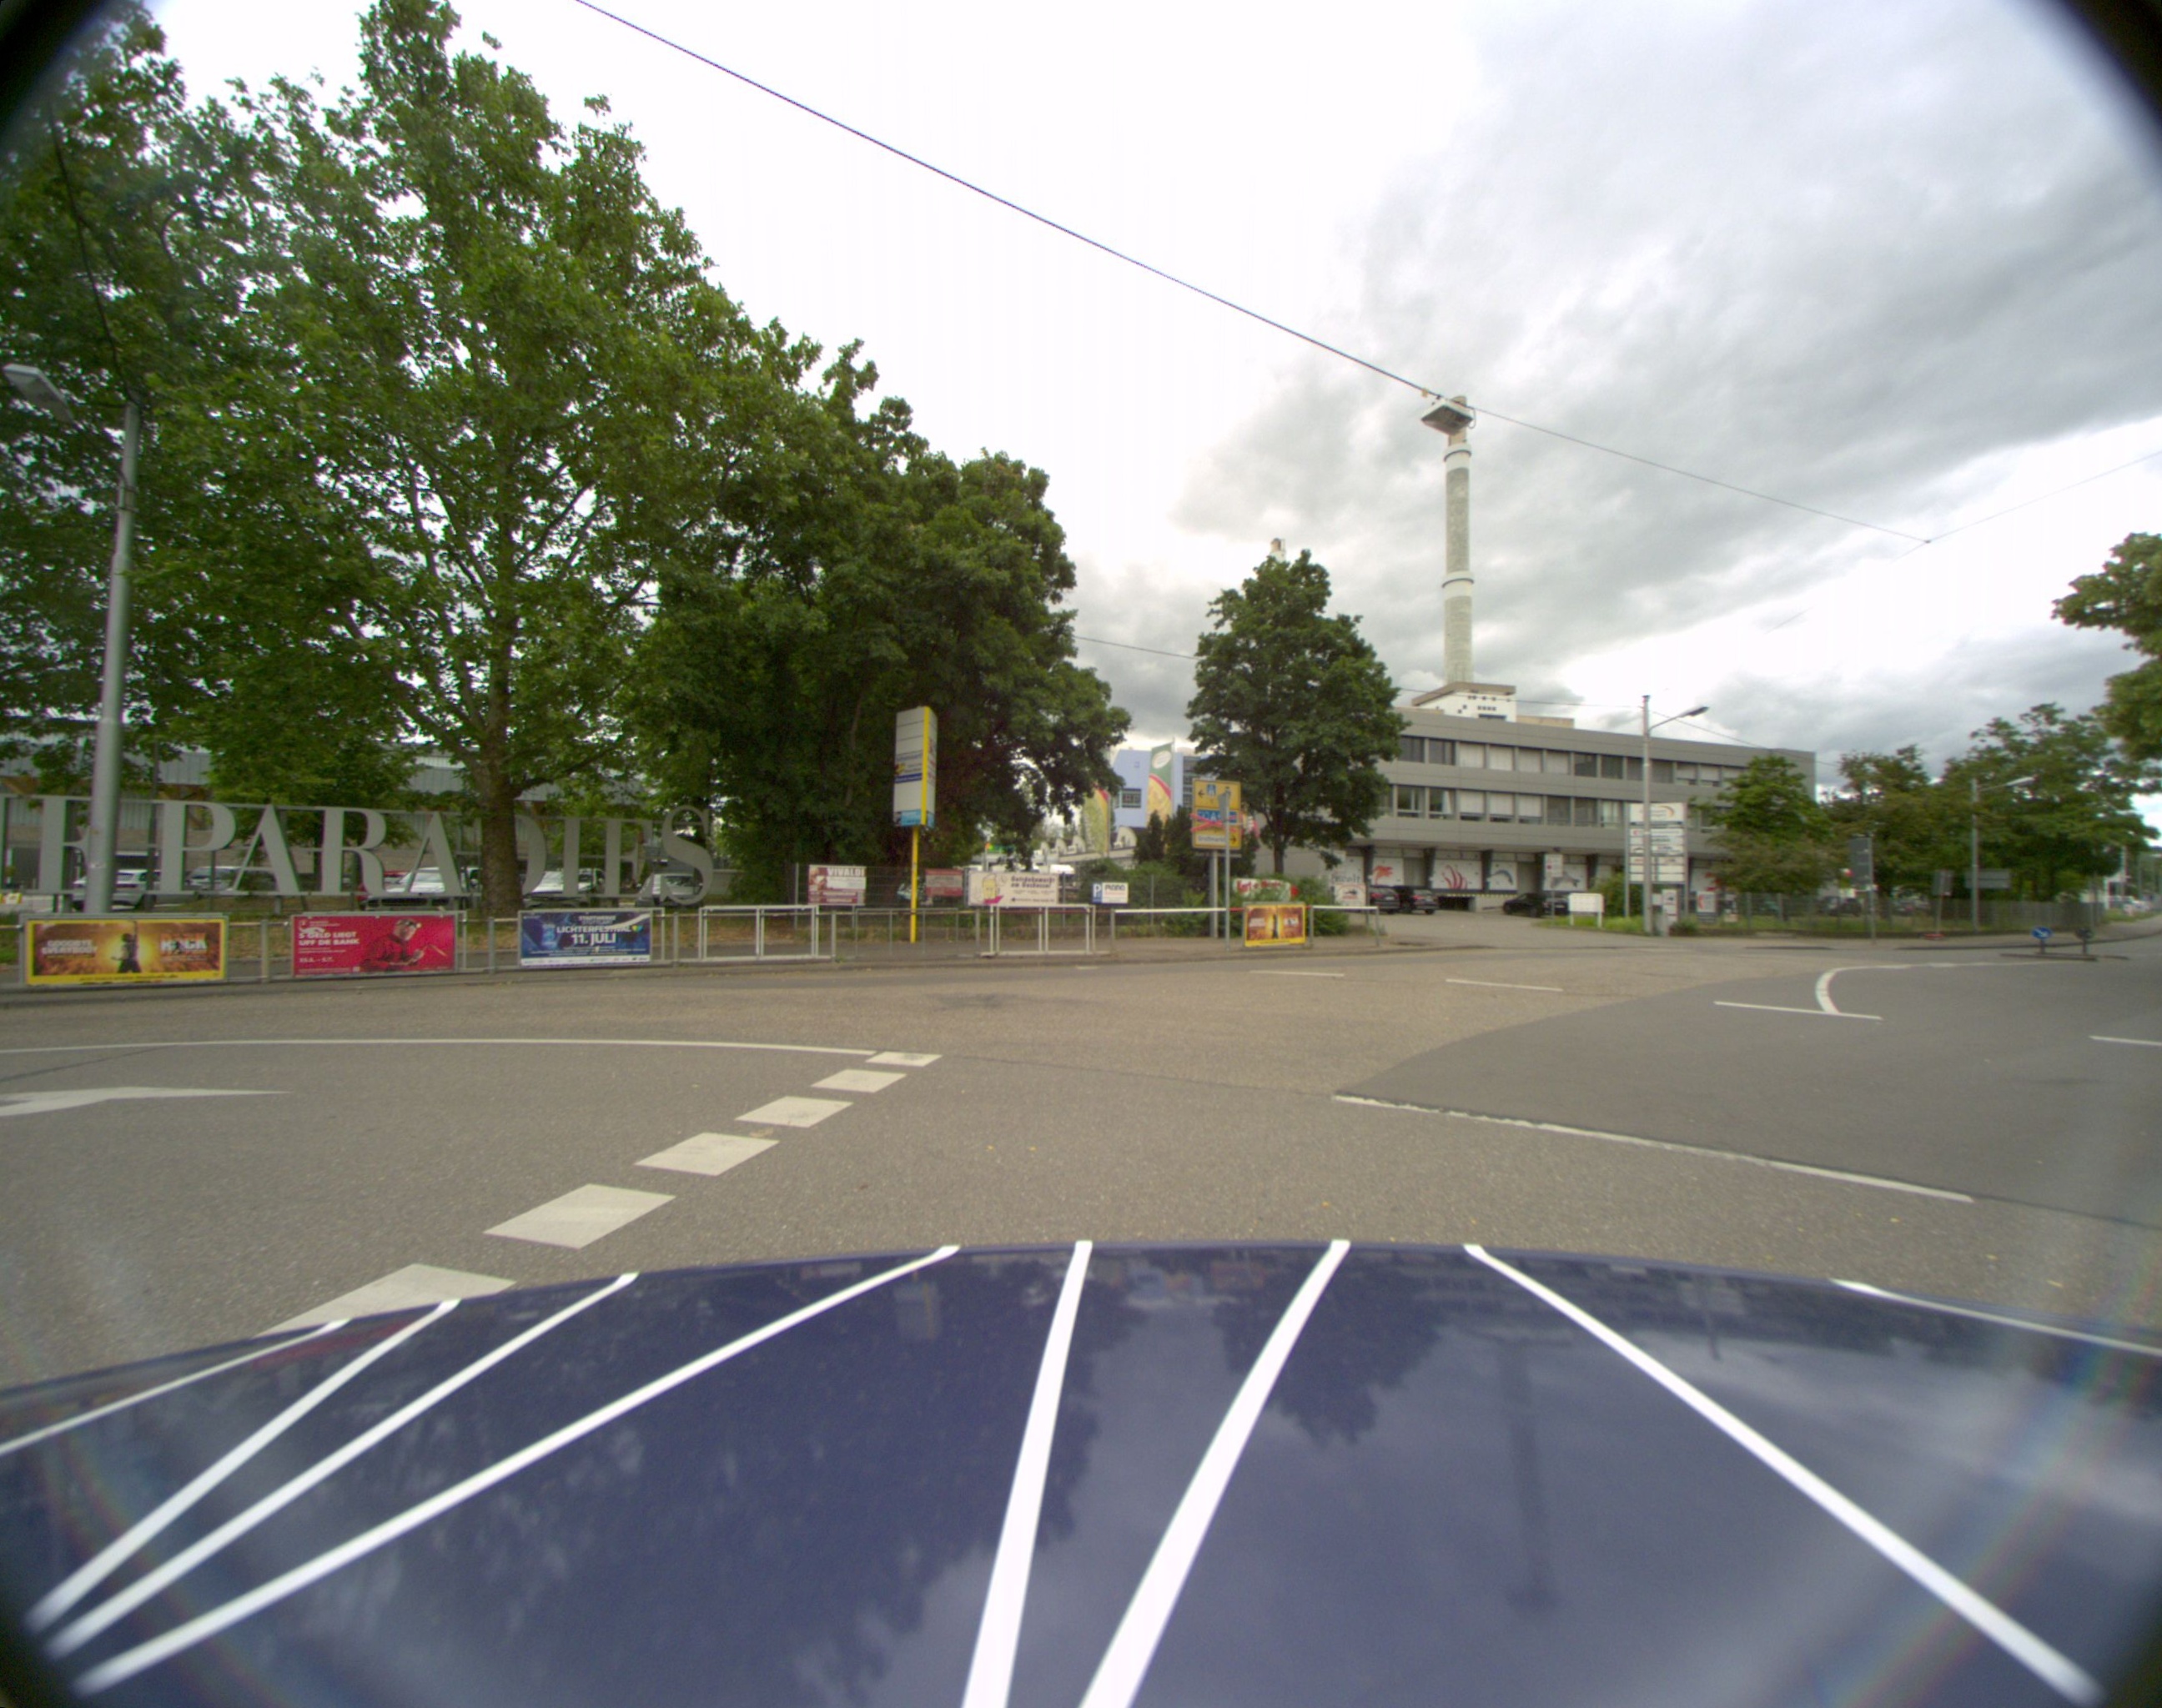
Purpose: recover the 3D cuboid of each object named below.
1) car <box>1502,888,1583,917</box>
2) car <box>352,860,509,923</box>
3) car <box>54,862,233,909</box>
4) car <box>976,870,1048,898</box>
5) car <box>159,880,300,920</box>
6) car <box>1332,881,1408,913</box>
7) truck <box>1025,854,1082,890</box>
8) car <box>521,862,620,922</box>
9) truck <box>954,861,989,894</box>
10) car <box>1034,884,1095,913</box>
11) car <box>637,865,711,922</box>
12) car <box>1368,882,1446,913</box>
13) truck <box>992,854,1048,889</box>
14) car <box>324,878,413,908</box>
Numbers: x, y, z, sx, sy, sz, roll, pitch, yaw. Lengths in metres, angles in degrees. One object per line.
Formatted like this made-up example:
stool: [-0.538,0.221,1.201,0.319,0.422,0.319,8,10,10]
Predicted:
car: [27.660,2.870,45.795,2.049,1.437,4.829,1,0,2]
car: [-18.387,1.082,21.774,1.886,1.602,4.520,1,-3,-20]
car: [-33.557,1.144,27.444,2.002,1.552,4.633,2,-2,-22]
car: [-7.249,3.174,80.013,7.160,2.715,2.241,2,-2,-17]
car: [-35.421,1.887,31.822,2.002,1.552,4.633,2,-2,-22]
car: [16.725,2.449,44.221,1.840,1.608,4.459,2,-1,-15]
truck: [-3.617,2.272,93.187,2.875,4.000,15.831,2,-2,-17]
car: [-15.110,1.124,22.709,1.594,1.602,4.311,1,-3,-22]
truck: [-14.432,3.060,99.283,3.002,4.140,9.177,2,-2,-17]
car: [-0.827,2.070,35.479,1.711,1.241,3.696,2,-2,-20]
car: [-12.599,1.233,23.729,1.594,1.602,3.994,1,-3,-22]
car: [19.358,2.537,45.325,1.840,1.608,4.417,2,-1,-16]
truck: [-7.640,2.206,92.099,2.855,3.908,15.708,2,-2,-19]
car: [-39.379,2.126,42.172,2.002,1.552,4.633,2,-2,-22]
